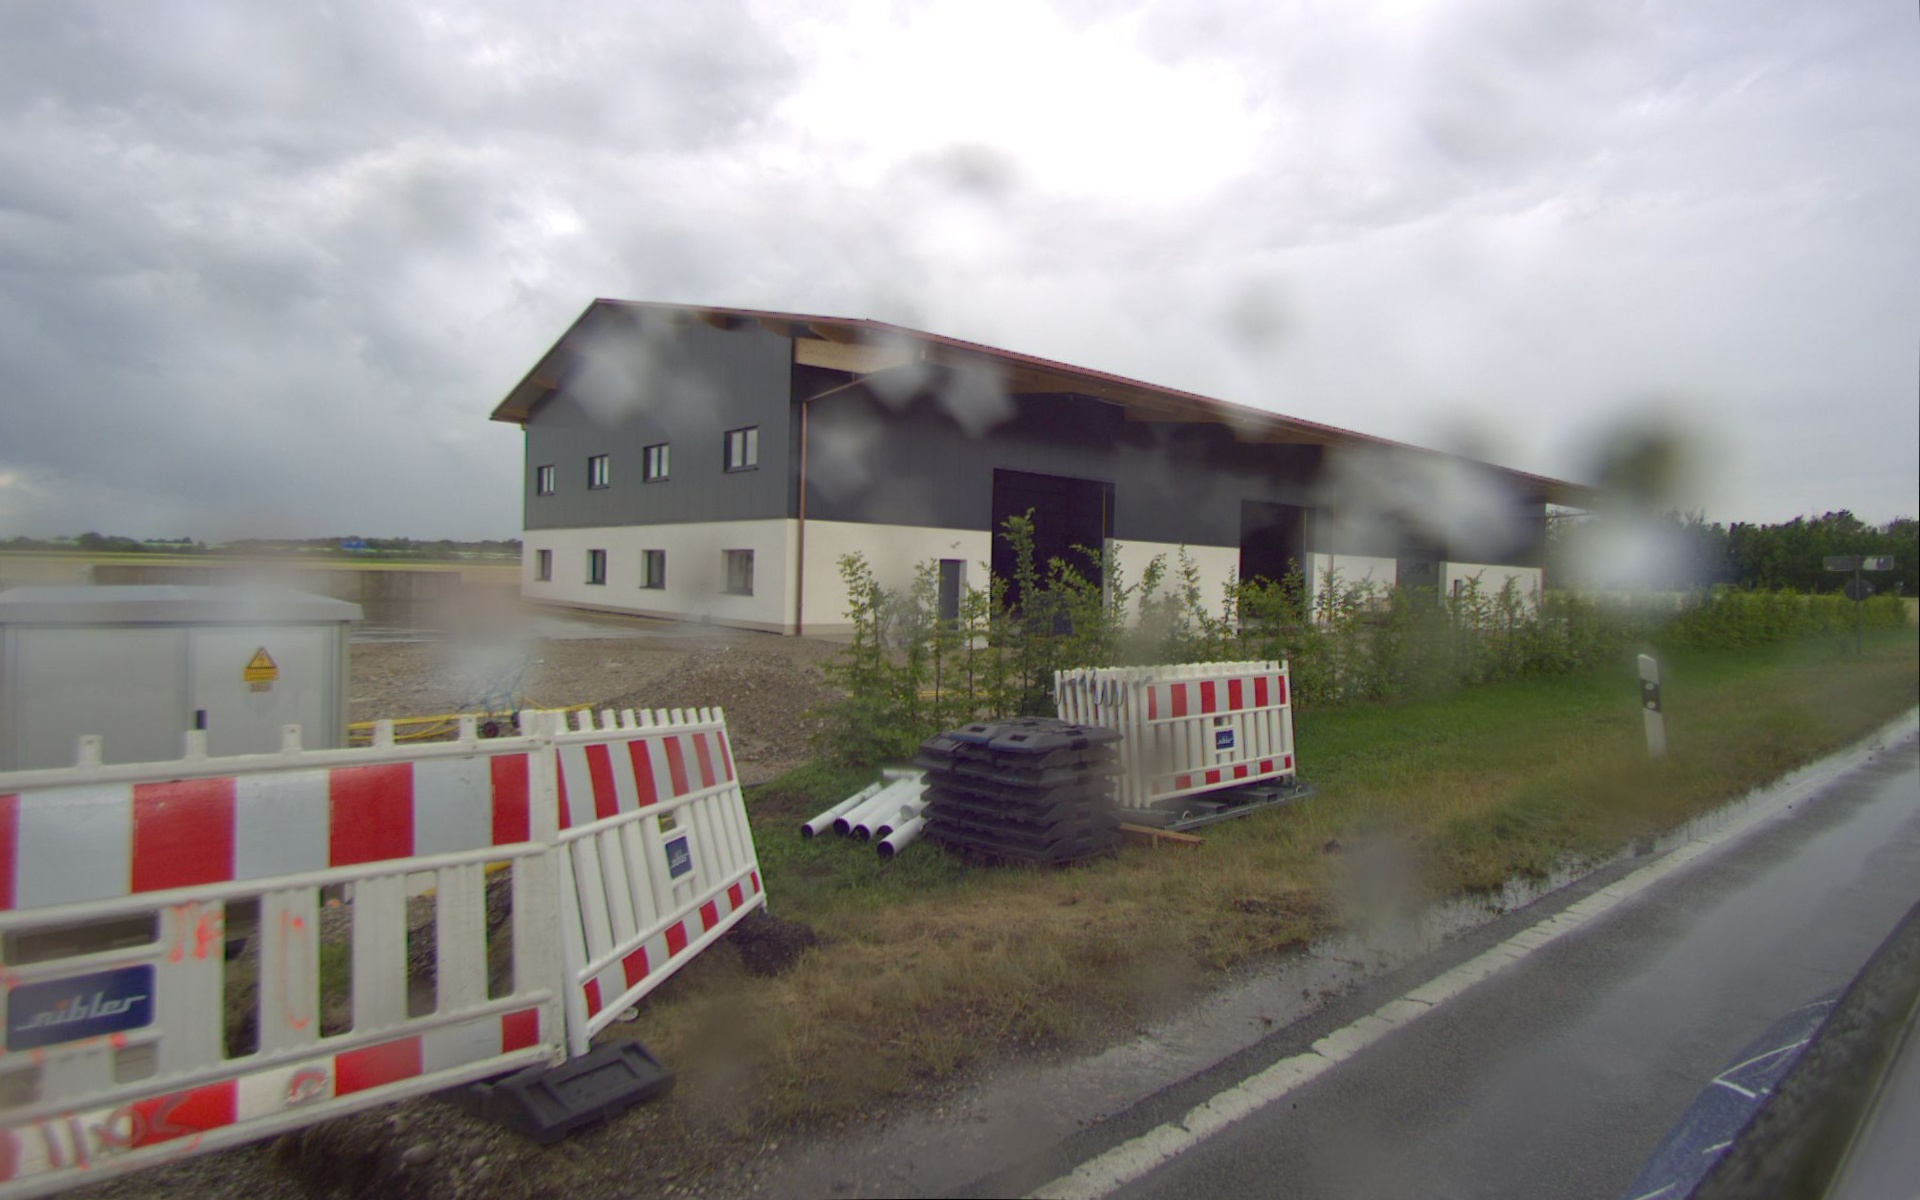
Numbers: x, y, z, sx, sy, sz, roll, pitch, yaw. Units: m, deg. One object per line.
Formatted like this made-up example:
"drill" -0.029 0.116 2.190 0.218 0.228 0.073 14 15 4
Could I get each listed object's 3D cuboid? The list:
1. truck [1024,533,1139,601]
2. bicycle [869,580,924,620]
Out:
"truck" 5.815 -1.558 48.109 5.250 3.050 2.495 -1 3 -41
"bicycle" -1.783 -0.017 28.678 1.632 1.085 0.391 -1 2 -41
